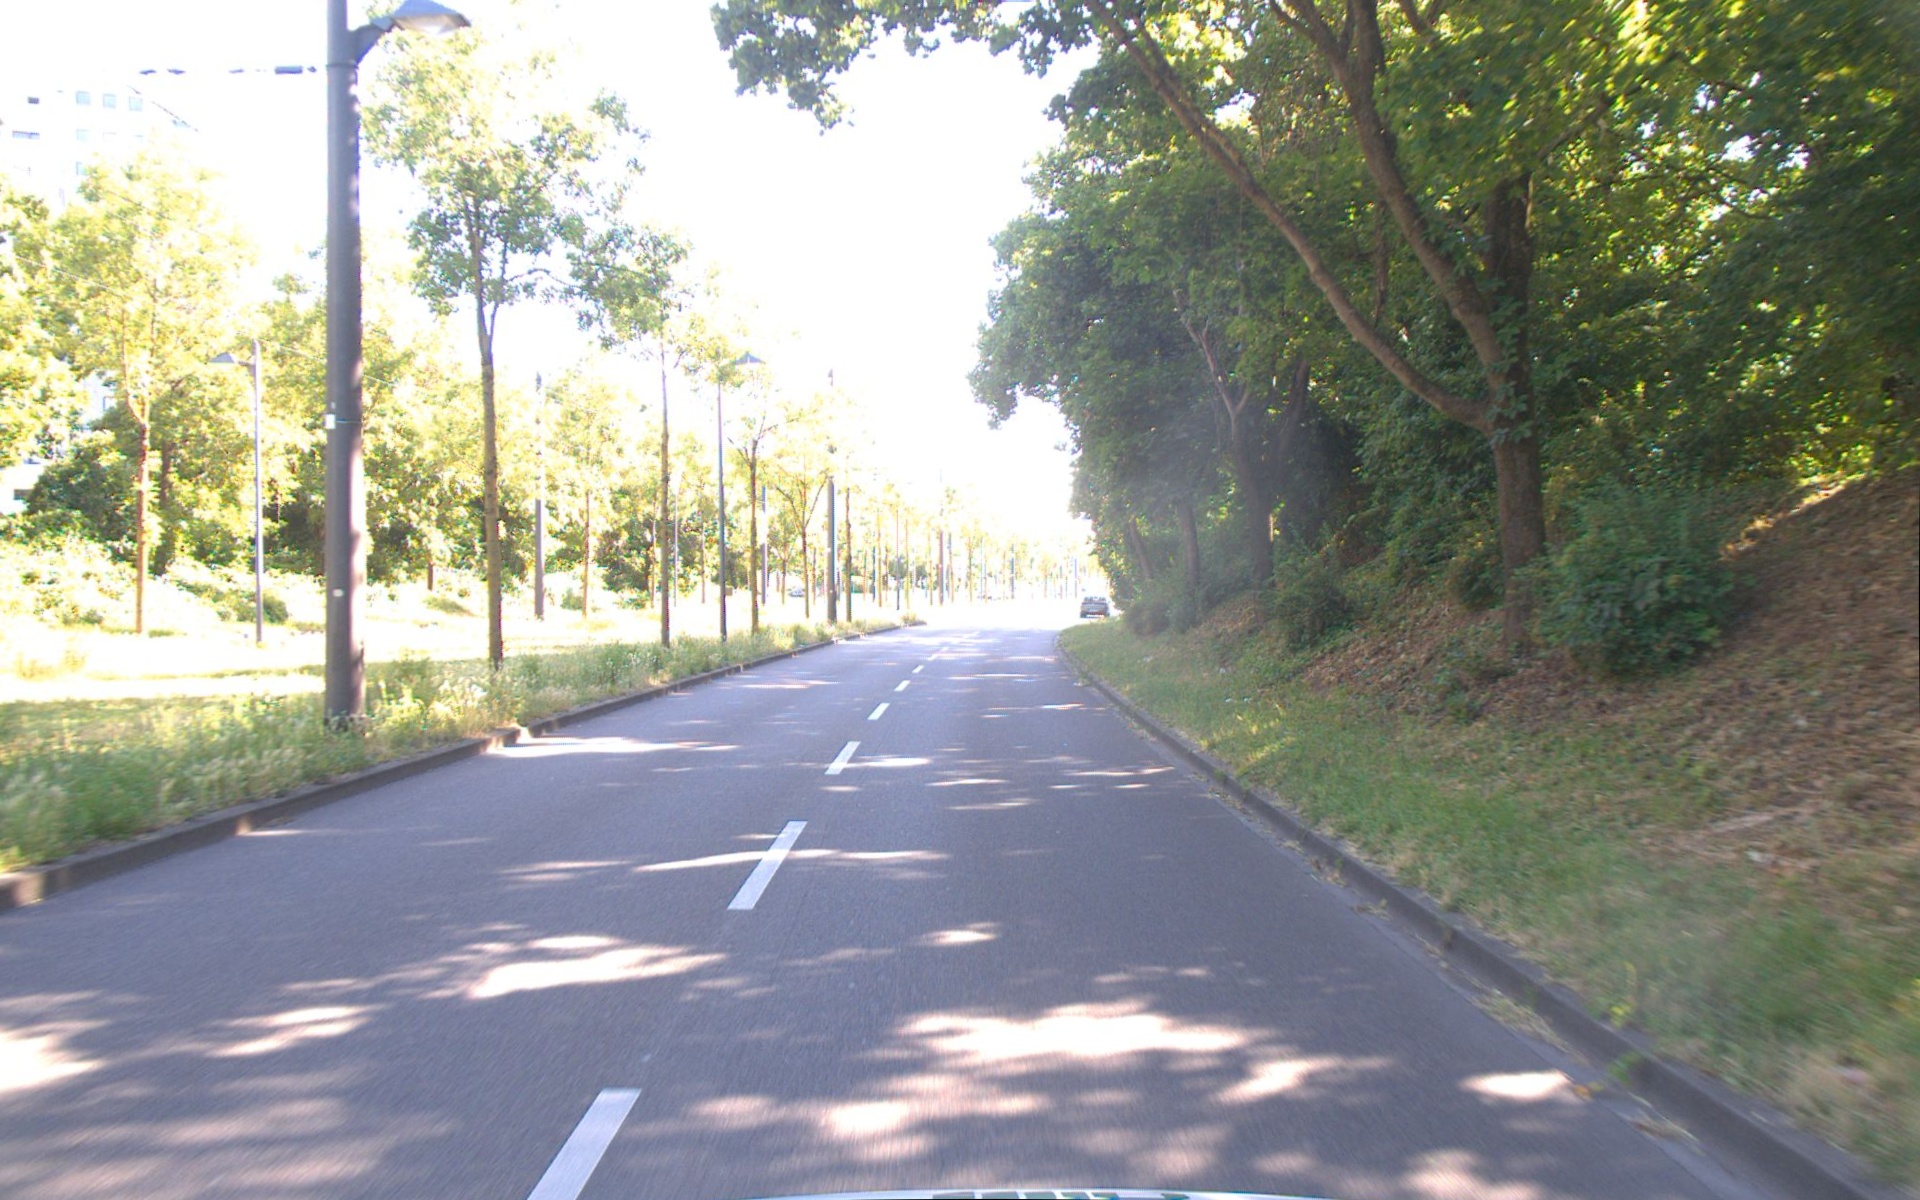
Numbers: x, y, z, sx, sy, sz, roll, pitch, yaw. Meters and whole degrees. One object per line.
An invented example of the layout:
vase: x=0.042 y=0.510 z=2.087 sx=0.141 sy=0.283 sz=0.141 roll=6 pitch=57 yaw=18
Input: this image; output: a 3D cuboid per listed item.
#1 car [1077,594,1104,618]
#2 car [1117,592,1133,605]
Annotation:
car: x=8.547 y=0.397 z=108.270 sx=1.599 sy=1.524 sz=4.238 roll=1 pitch=0 yaw=7
car: x=19.289 y=-0.185 z=192.871 sx=1.599 sy=1.524 sz=4.238 roll=1 pitch=0 yaw=9
